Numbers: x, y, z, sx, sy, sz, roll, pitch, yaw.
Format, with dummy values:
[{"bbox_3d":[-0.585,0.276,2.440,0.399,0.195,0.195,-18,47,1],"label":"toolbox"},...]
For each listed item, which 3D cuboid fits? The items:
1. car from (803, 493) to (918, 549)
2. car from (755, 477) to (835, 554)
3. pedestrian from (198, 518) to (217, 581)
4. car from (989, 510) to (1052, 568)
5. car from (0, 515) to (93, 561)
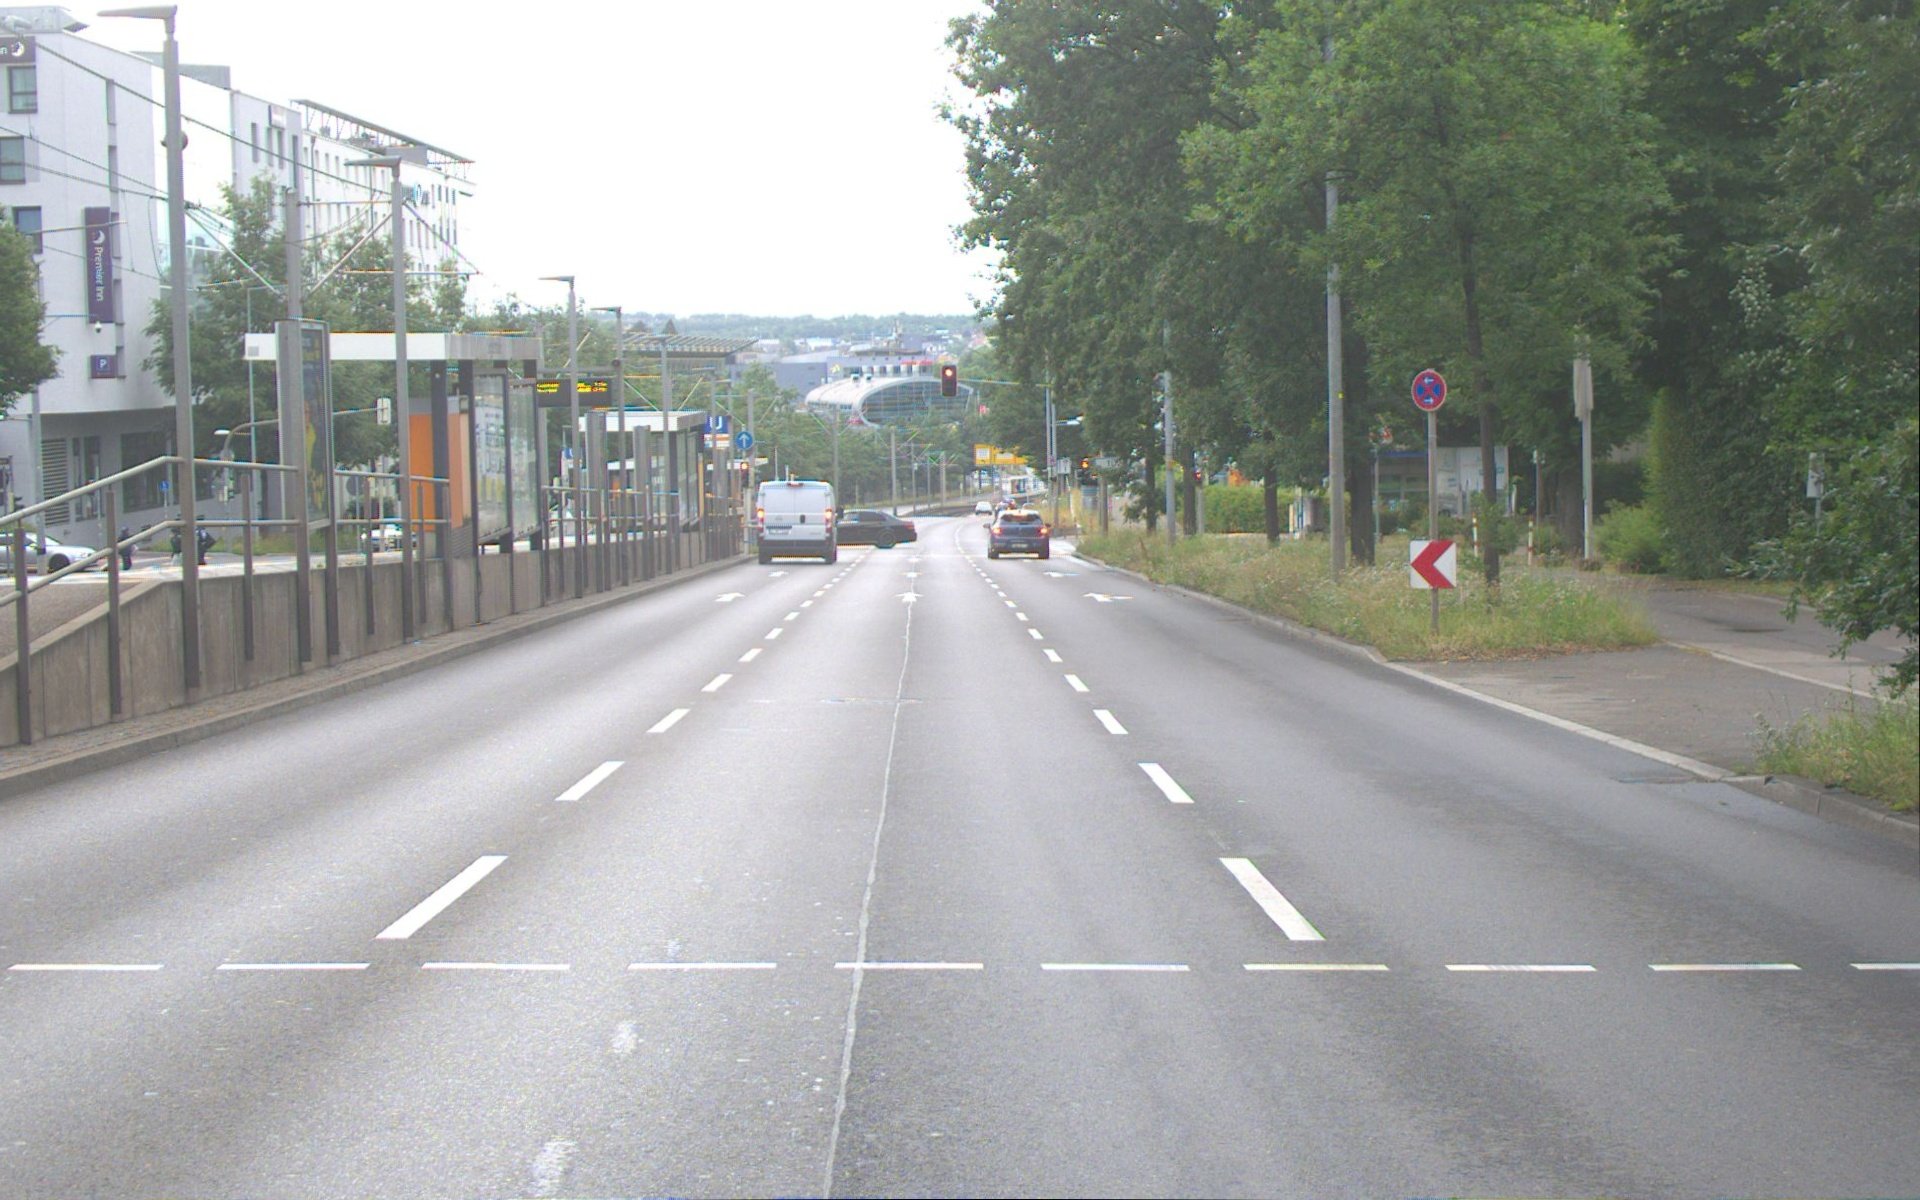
[{"bbox_3d":[-3.611,-2.865,124.374,3.986,2.007,1.760,0,1,-8],"label":"car"},{"bbox_3d":[-4.486,-2.325,94.113,2.093,2.046,4.607,0,2,-2],"label":"car"},{"bbox_3d":[-23.052,-1.548,105.314,0.475,1.914,0.490,0,1,-1],"label":"pedestrian"},{"bbox_3d":[1.785,-1.838,103.055,1.774,1.685,3.846,0,2,-1],"label":"car"},{"bbox_3d":[-32.102,-2.112,118.538,3.869,1.431,1.655,-2,1,14],"label":"car"}]
